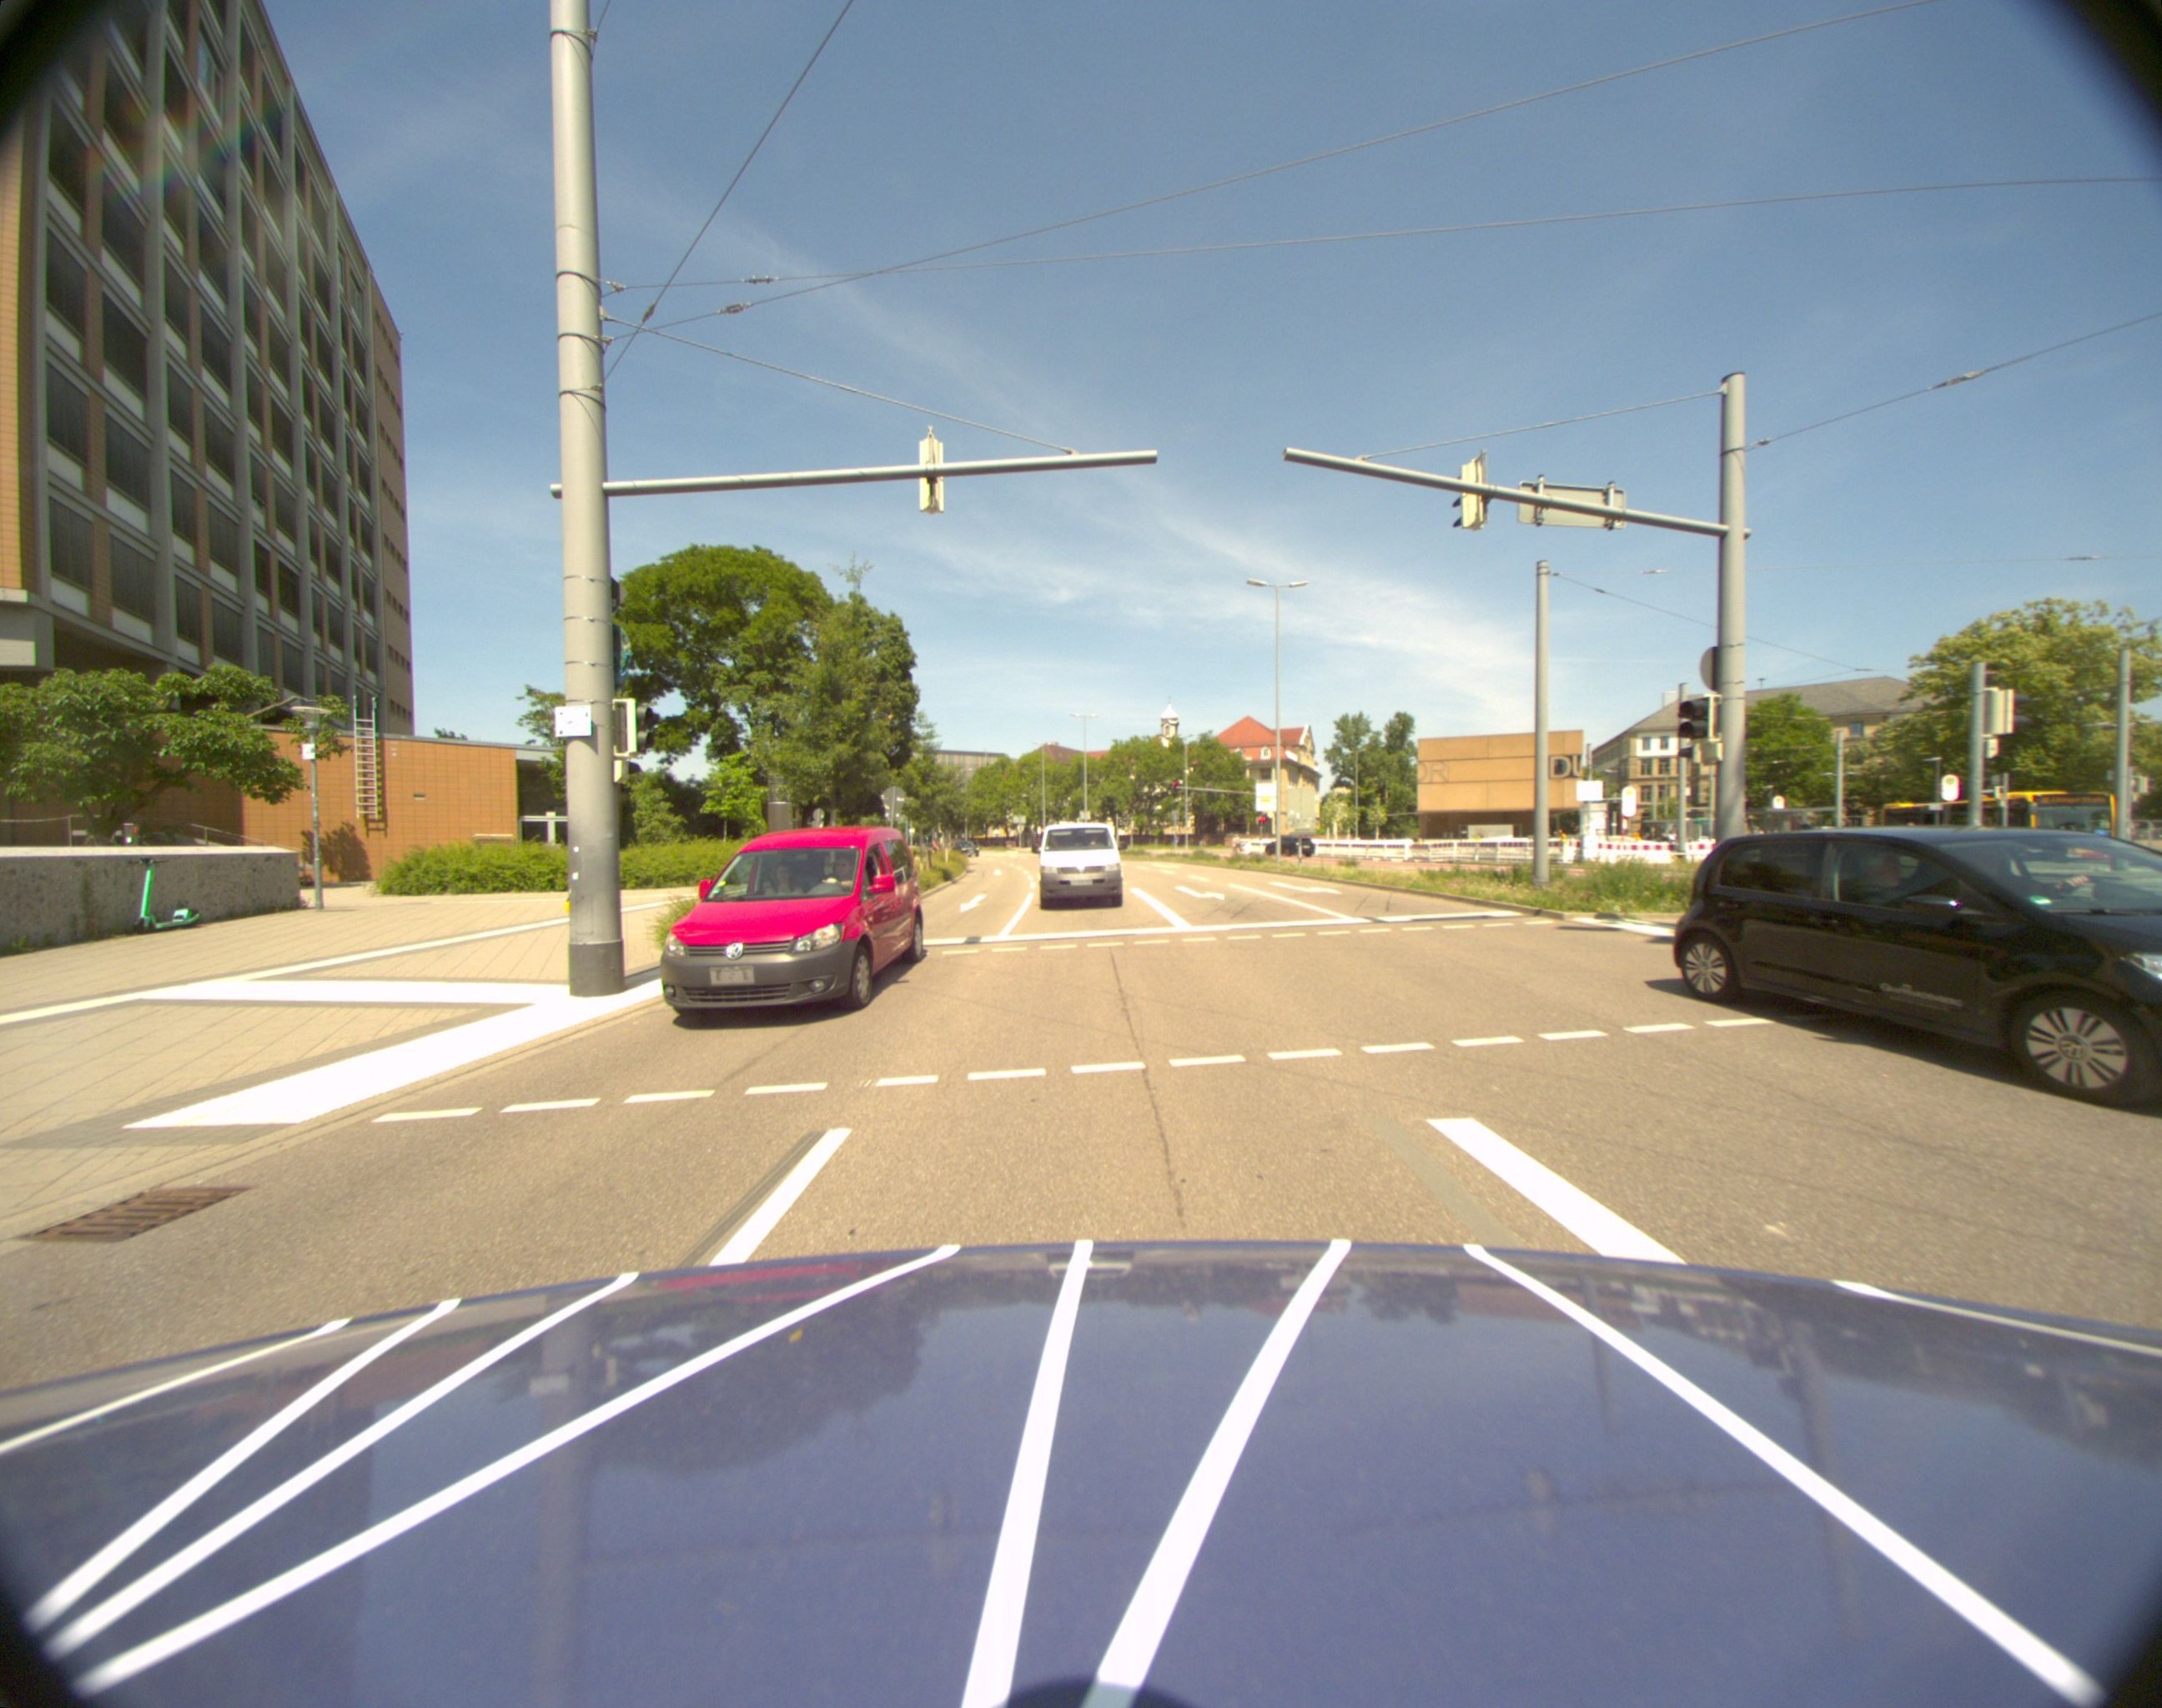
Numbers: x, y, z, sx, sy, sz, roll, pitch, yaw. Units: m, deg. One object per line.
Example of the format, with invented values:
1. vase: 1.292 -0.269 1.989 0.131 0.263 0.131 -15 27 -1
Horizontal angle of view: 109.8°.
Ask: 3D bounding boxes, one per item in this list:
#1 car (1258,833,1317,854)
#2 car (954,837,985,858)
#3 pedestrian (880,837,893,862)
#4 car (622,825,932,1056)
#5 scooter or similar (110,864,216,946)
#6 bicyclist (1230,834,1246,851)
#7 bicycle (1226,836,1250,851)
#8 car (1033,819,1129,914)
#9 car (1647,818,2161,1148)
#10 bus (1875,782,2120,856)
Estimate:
1. car: 14.757 -0.784 54.606 2.001 1.457 4.839 -1 1 -14
2. car: -11.277 -0.695 76.630 2.003 2.002 3.991 -2 1 -26
3. pedestrian: -14.225 -0.346 55.578 0.728 1.788 0.613 -1 2 -1
4. car: -2.928 0.654 8.501 1.655 1.848 4.544 -2 1 -1
5. scooter or similar: -14.360 0.765 11.924 0.459 1.164 1.248 -1 2 -21
6. bicyclist: 12.362 -0.931 60.039 0.587 1.348 1.437 -3 3 -16
7. bicycle: 12.431 -0.831 60.090 0.879 1.066 2.228 -3 2 -16
8. car: -0.049 0.202 18.712 1.971 1.959 4.846 -2 2 -1
9. car: 6.039 0.572 5.099 1.748 1.567 3.737 -1 1 2
10. bus: 43.629 -1.557 36.998 2.849 2.999 12.240 0 1 26
